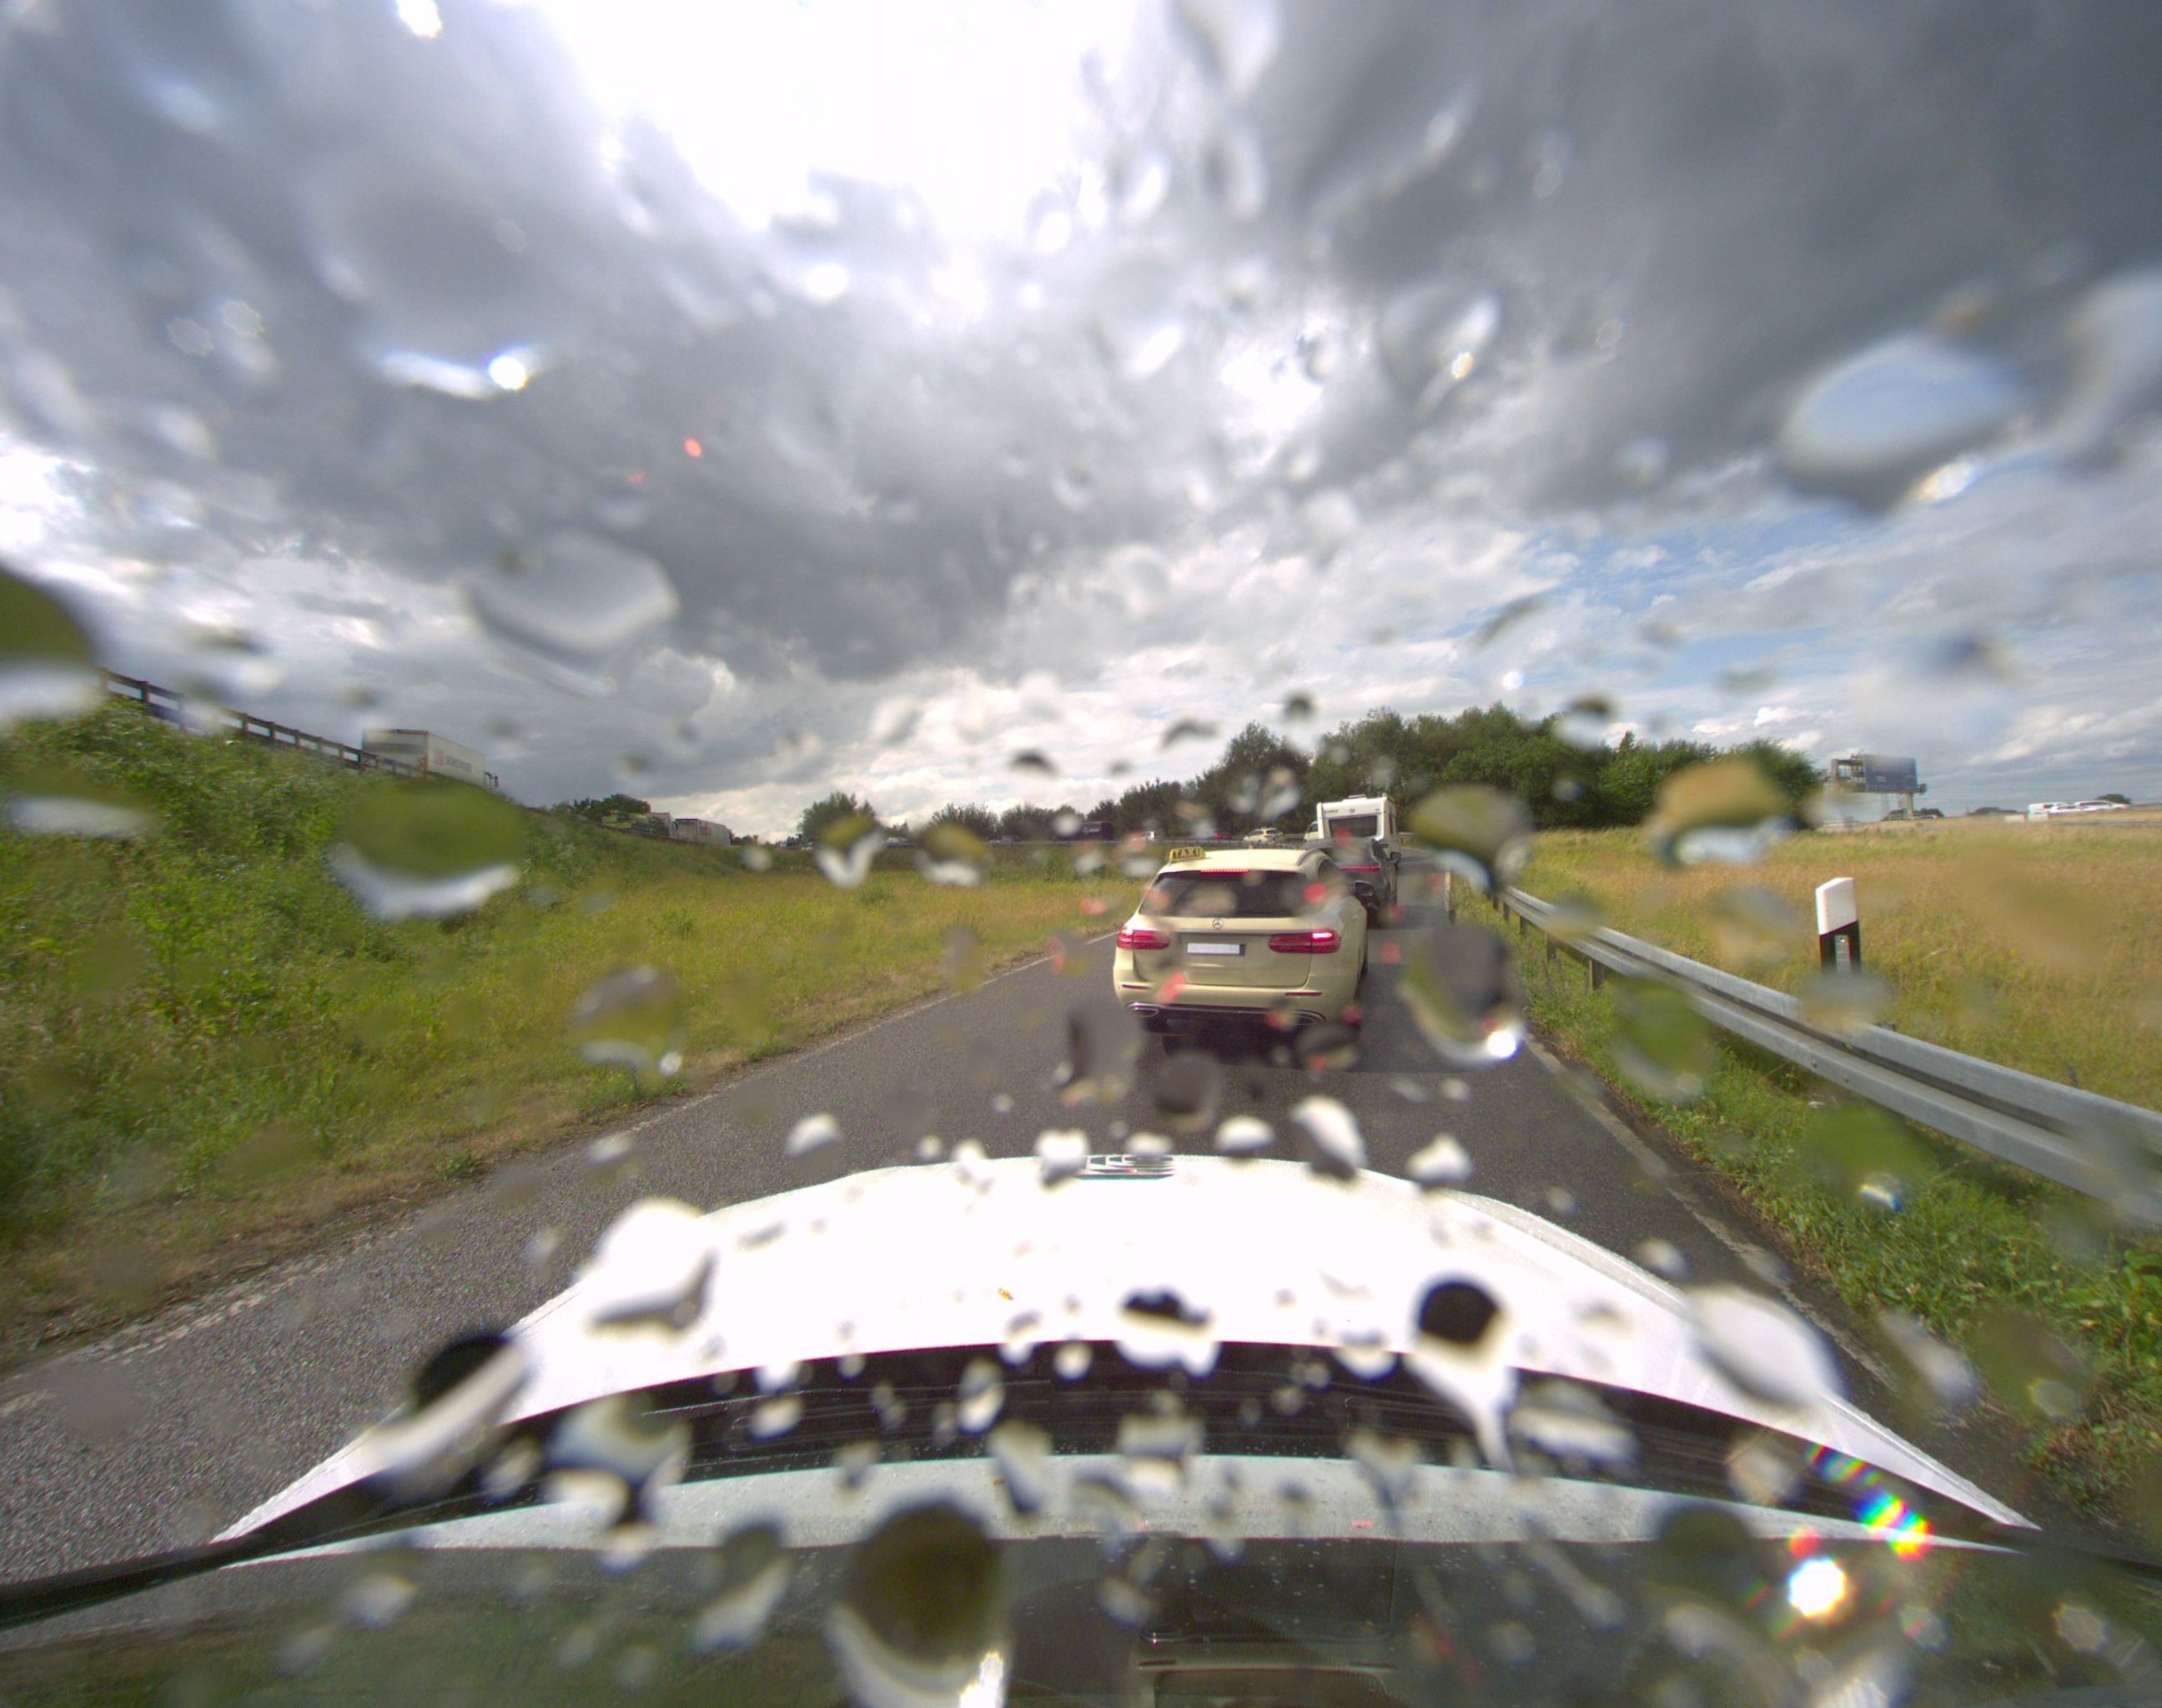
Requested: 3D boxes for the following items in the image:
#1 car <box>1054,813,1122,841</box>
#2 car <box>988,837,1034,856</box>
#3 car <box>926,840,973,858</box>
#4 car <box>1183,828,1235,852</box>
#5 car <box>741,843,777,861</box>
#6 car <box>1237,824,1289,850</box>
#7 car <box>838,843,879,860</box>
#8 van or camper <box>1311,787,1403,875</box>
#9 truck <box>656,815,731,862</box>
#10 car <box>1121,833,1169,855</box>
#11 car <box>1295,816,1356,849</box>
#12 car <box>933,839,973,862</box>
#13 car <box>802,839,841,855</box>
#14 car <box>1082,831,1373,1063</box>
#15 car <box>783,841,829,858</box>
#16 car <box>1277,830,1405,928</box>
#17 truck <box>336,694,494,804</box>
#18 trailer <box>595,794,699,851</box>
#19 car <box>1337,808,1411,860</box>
[{"bbox_3d":[0.712,-2.841,87.033,6.894,2.595,2.893,-2,0,41],"label":"car"},{"bbox_3d":[-7.934,-0.867,92.367,4.991,1.861,2.013,-4,-1,33],"label":"car"},{"bbox_3d":[-15.461,-0.604,95.746,4.999,1.861,2.010,-3,-1,19],"label":"car"},{"bbox_3d":[11.384,-1.204,72.806,2.005,1.861,5.012,-3,-1,-27],"label":"car"},{"bbox_3d":[-39.686,-0.278,100.471,4.000,2.014,1.814,-1,-3,-20],"label":"car"},{"bbox_3d":[14.008,-1.298,62.954,1.995,1.861,5.037,-2,1,-12],"label":"car"},{"bbox_3d":[-28.286,-0.284,103.452,4.466,1.861,2.007,-3,-1,12],"label":"car"},{"bbox_3d":[9.895,-0.881,28.773,2.408,2.729,6.037,-2,3,25],"label":"van or camper"},{"bbox_3d":[-48.331,-1.663,102.455,4.466,4.504,19.281,-1,-3,-13],"label":"truck"},{"bbox_3d":[6.346,-0.988,80.945,2.008,1.861,5.003,-2,-1,-34],"label":"car"},{"bbox_3d":[15.963,-1.388,53.529,1.991,1.861,5.047,-3,-1,-5],"label":"car"},{"bbox_3d":[-14.987,-0.420,95.633,3.949,2.012,2.013,-8,2,29],"label":"car"},{"bbox_3d":[-34.887,-0.886,109.456,4.993,1.861,2.012,-4,-1,28],"label":"car"},{"bbox_3d":[1.725,0.619,7.776,1.900,1.507,4.619,-1,0,20],"label":"car"},{"bbox_3d":[-34.468,-0.557,102.267,5.013,1.861,2.004,-3,-1,7],"label":"car"},{"bbox_3d":[4.962,0.375,15.171,1.702,1.524,4.024,-3,1,25],"label":"car"},{"bbox_3d":[-33.681,-5.069,41.776,3.190,3.967,9.176,-1,-3,-19],"label":"truck"},{"bbox_3d":[-43.888,-2.898,83.567,4.419,3.956,20.120,-1,-3,-13],"label":"trailer"},{"bbox_3d":[12.386,-0.899,34.155,2.406,1.925,5.795,-1,3,25],"label":"car"}]
